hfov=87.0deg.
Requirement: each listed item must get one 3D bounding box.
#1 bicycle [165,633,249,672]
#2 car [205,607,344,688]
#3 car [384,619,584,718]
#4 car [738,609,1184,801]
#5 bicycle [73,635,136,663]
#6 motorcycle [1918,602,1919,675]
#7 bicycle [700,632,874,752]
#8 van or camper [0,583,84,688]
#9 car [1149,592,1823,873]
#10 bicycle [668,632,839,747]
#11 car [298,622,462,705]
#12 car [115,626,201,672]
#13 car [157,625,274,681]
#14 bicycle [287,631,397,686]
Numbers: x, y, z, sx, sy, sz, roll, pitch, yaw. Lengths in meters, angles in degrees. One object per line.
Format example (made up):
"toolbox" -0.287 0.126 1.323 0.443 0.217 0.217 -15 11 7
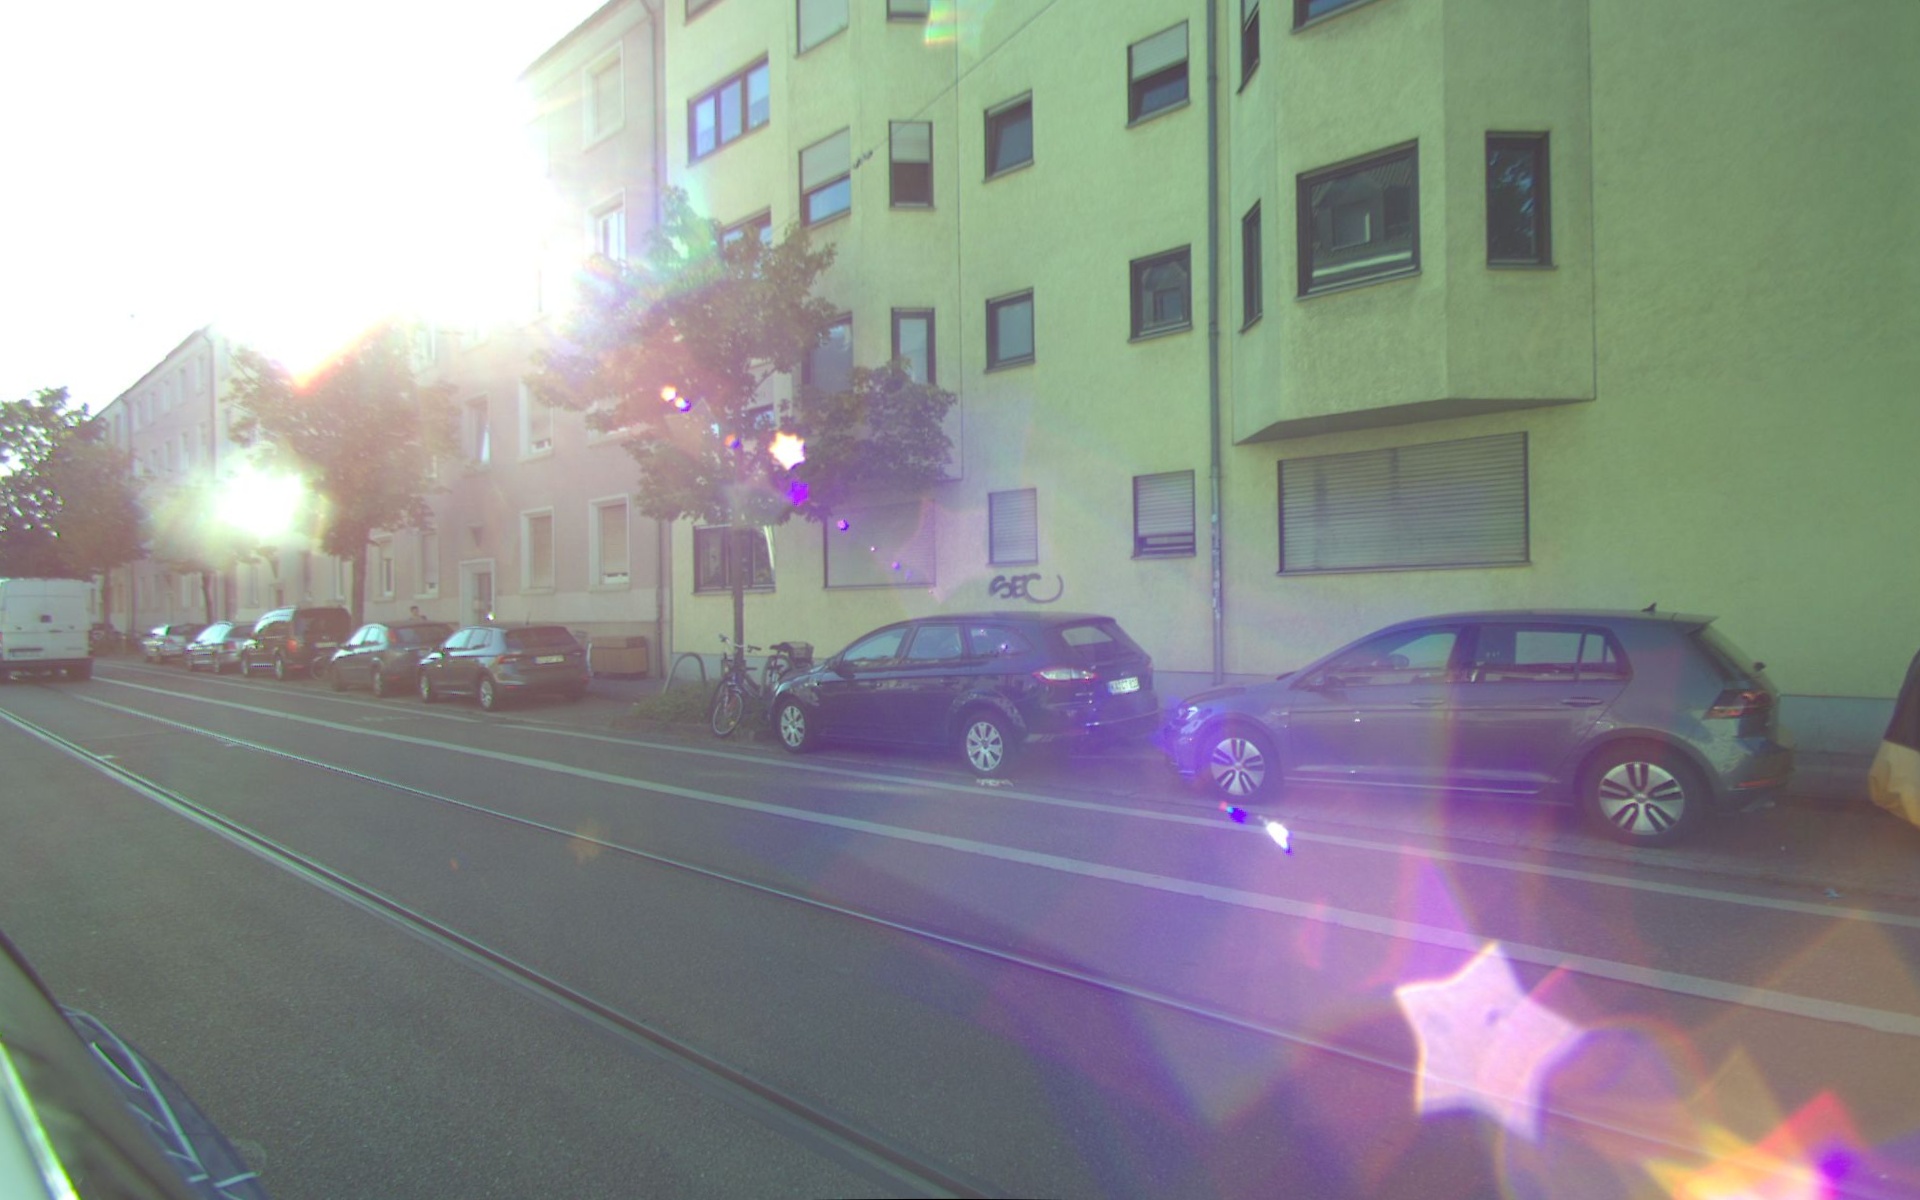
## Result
"bicycle" -25.081 1.716 33.752 0.659 1.151 2.124 -2 0 37
"car" -17.931 1.200 26.414 4.419 1.859 1.748 -2 1 39
"car" -8.643 1.161 18.238 4.039 1.484 1.747 -2 2 41
"car" -0.211 0.919 10.559 4.733 1.554 1.746 -2 -1 43
"bicycle" -38.835 2.209 45.968 0.535 1.151 2.123 -2 -1 37
"motorcycle" 5.945 0.731 5.432 0.834 1.458 1.952 -2 -1 34
"bicycle" -2.167 1.118 12.998 0.699 1.344 2.268 -2 -1 41
"van or camper" -25.739 0.938 27.106 6.828 2.572 2.346 -2 -1 40
"car" 3.678 0.773 7.575 4.124 1.554 1.718 -2 -1 39
"bicycle" -2.703 1.129 13.496 0.699 1.344 2.268 -2 -1 41
"car" -12.338 1.272 21.420 4.180 1.484 1.746 -2 2 42
"car" -28.564 1.690 35.985 4.753 1.484 1.745 -2 -1 44
"car" -22.077 1.507 29.929 4.856 1.484 1.747 -2 -1 41
"bicycle" -14.777 1.373 24.250 0.746 1.113 2.090 -2 2 39
